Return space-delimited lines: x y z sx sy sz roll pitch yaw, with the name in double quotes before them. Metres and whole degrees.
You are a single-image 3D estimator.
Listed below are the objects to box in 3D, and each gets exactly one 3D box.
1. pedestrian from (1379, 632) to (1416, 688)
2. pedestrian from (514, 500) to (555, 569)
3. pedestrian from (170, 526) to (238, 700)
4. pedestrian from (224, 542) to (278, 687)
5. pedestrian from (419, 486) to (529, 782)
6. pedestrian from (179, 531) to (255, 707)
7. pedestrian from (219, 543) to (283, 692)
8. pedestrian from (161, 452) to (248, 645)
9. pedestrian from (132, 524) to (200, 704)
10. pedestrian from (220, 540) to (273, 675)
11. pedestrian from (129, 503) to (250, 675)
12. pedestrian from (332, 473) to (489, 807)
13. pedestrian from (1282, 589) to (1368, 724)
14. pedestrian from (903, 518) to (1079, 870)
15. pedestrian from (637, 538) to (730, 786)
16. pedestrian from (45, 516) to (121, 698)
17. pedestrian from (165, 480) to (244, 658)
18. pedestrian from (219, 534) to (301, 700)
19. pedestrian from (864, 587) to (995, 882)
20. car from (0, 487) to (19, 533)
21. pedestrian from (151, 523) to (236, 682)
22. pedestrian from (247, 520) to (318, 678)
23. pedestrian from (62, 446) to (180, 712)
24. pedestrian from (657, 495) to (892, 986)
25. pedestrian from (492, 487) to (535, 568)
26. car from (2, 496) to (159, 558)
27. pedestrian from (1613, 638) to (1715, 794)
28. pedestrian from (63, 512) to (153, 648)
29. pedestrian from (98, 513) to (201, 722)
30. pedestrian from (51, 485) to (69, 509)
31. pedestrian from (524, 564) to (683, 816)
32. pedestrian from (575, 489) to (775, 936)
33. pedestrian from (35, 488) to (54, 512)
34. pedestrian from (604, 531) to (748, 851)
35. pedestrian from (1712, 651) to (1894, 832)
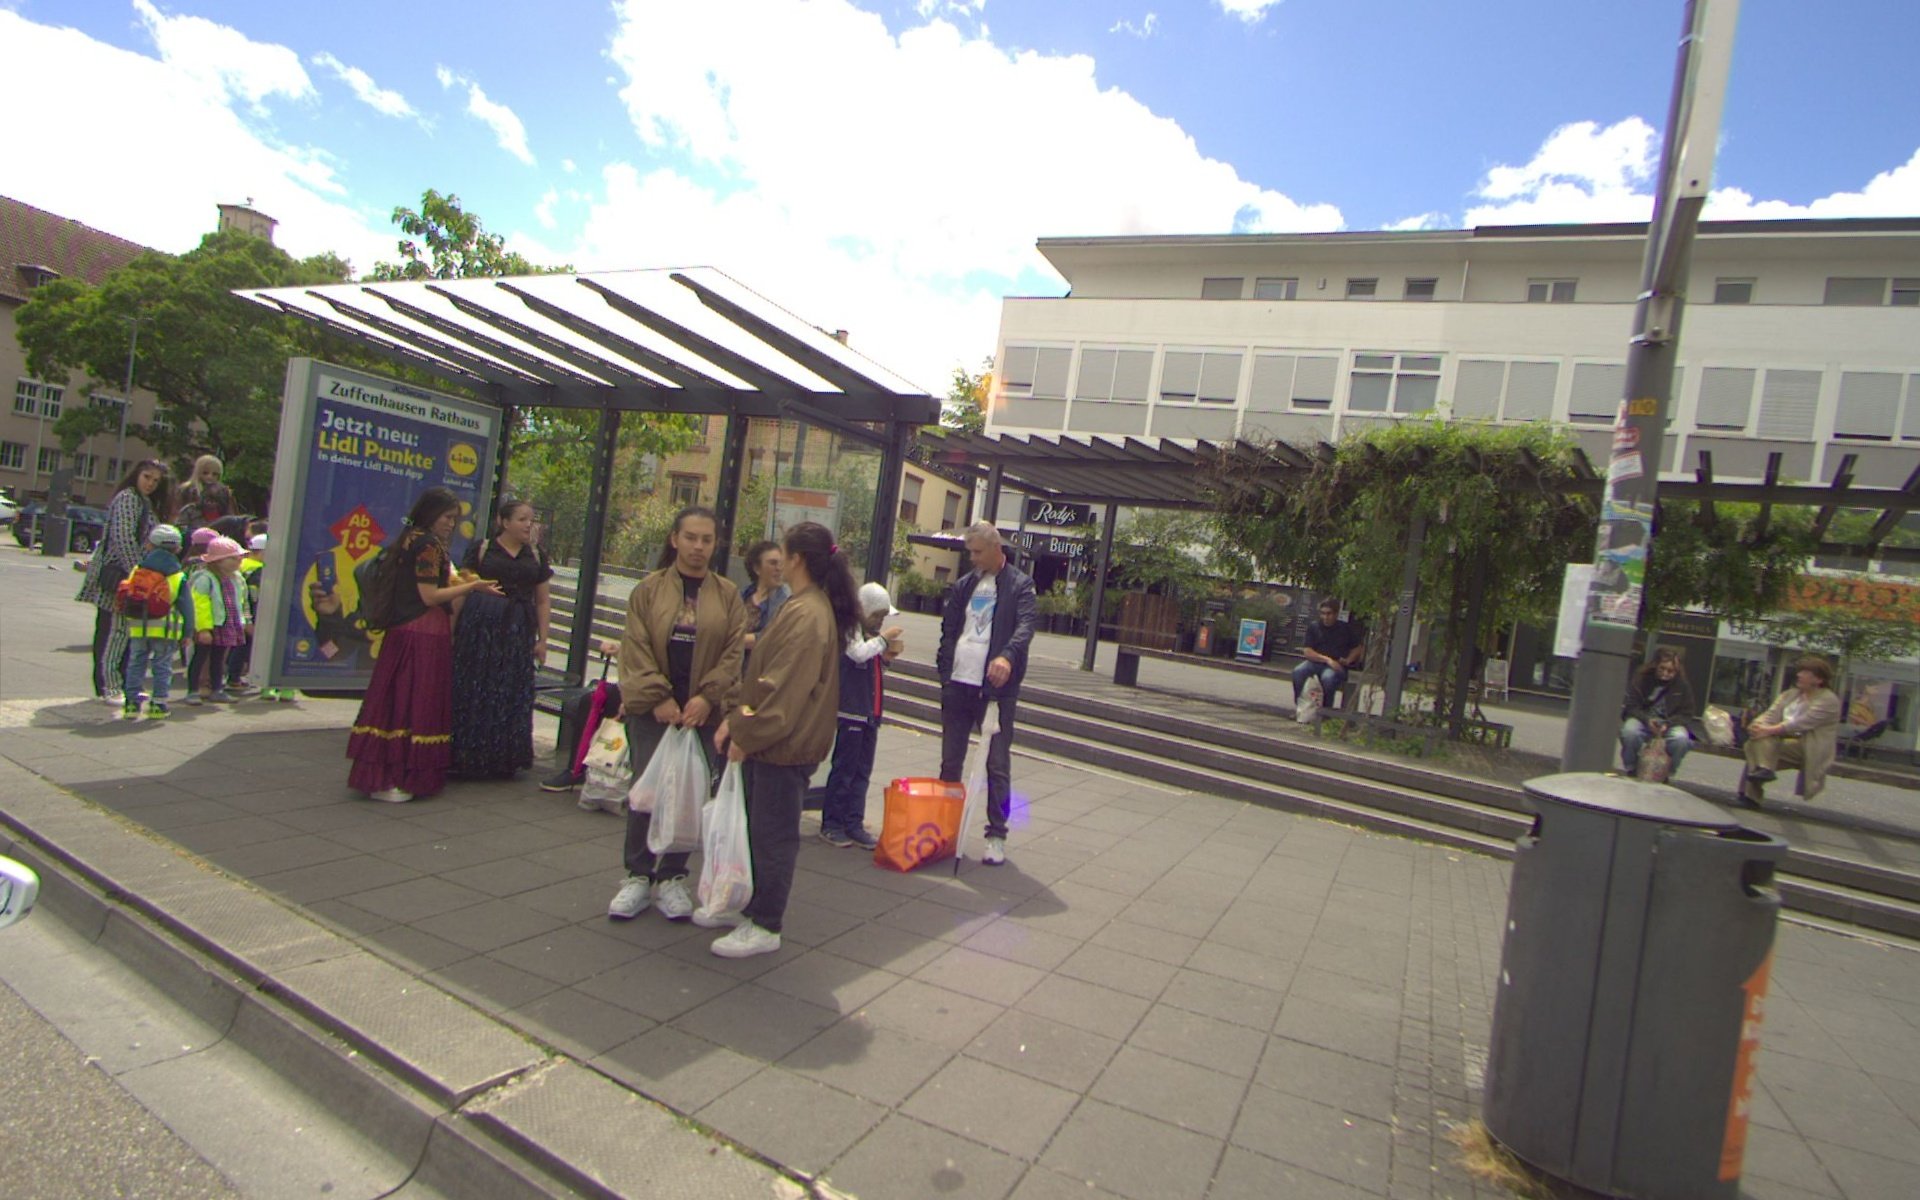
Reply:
"pedestrian" 11.068 1.505 25.455 0.535 1.339 0.570 7 0 4
"pedestrian" -8.612 -1.330 20.370 0.631 1.301 0.363 8 2 36
"pedestrian" -5.305 0.089 7.065 0.248 1.189 0.250 5 3 -21
"pedestrian" -5.461 0.111 7.745 0.250 1.083 0.248 4 3 -43
"pedestrian" -2.709 0.192 5.633 0.389 1.586 0.350 6 2 -22
"pedestrian" -5.082 0.130 6.880 0.289 1.167 0.297 8 3 41
"pedestrian" -5.315 0.130 7.544 0.248 1.083 0.250 7 3 27
"pedestrian" -7.516 -0.499 10.010 0.430 1.847 0.538 8 3 43
"pedestrian" -5.354 0.093 6.791 0.261 1.176 0.269 5 3 -30
"pedestrian" -5.916 0.065 8.342 0.248 1.083 0.250 8 3 41
"pedestrian" -6.303 -0.090 8.247 0.588 1.321 0.432 5 2 -3
"pedestrian" -2.782 0.202 5.133 0.490 1.586 0.499 6 2 -19
"pedestrian" 3.858 0.598 10.622 0.537 1.339 0.567 7 0 40
"pedestrian" 0.169 0.466 5.283 0.566 1.702 0.512 7 2 30
"pedestrian" -1.713 0.377 6.235 0.314 1.477 0.275 7 2 15
"pedestrian" -5.788 0.048 6.644 0.244 1.167 0.274 8 3 35
"pedestrian" -6.745 -0.267 8.978 0.384 1.537 0.389 7 3 37
"pedestrian" -5.127 0.119 7.381 0.316 1.167 0.318 6 2 -9
"pedestrian" -0.144 0.623 4.838 0.349 1.323 0.389 7 3 32
"car" -36.896 -3.518 36.277 4.241 1.596 1.826 7 1 -44
"pedestrian" -5.941 0.019 7.808 0.345 1.182 0.335 5 2 -1
"pedestrian" -5.569 -0.005 8.266 0.329 1.254 0.323 7 3 34
"pedestrian" -5.415 -0.138 6.496 0.461 1.641 0.387 7 3 33
"pedestrian" -0.660 0.458 3.523 0.509 1.569 0.483 6 2 -33
"pedestrian" -8.792 -1.429 19.814 0.501 1.527 0.448 6 2 -43
"car" -27.366 -2.214 31.477 1.585 1.399 3.835 8 -1 -4
"pedestrian" 6.145 1.004 8.779 0.558 1.242 0.567 7 0 40
"pedestrian" -7.844 -0.185 9.275 0.470 1.188 0.388 5 2 -21
"pedestrian" -5.029 0.109 6.260 0.400 1.242 0.384 5 2 -37
"pedestrian" -50.633 -5.771 56.596 0.482 1.236 0.577 8 -1 -24
"pedestrian" -1.908 0.459 5.386 0.622 1.227 0.378 7 3 25
"pedestrian" -1.075 0.415 3.829 0.535 1.569 0.485 6 2 -15
"pedestrian" -50.786 -5.549 55.805 0.482 1.196 0.577 8 -1 -24
"pedestrian" -1.382 0.425 4.908 0.408 1.462 0.378 7 3 24
"pedestrian" 6.750 1.102 8.099 0.756 1.284 0.677 7 0 9
